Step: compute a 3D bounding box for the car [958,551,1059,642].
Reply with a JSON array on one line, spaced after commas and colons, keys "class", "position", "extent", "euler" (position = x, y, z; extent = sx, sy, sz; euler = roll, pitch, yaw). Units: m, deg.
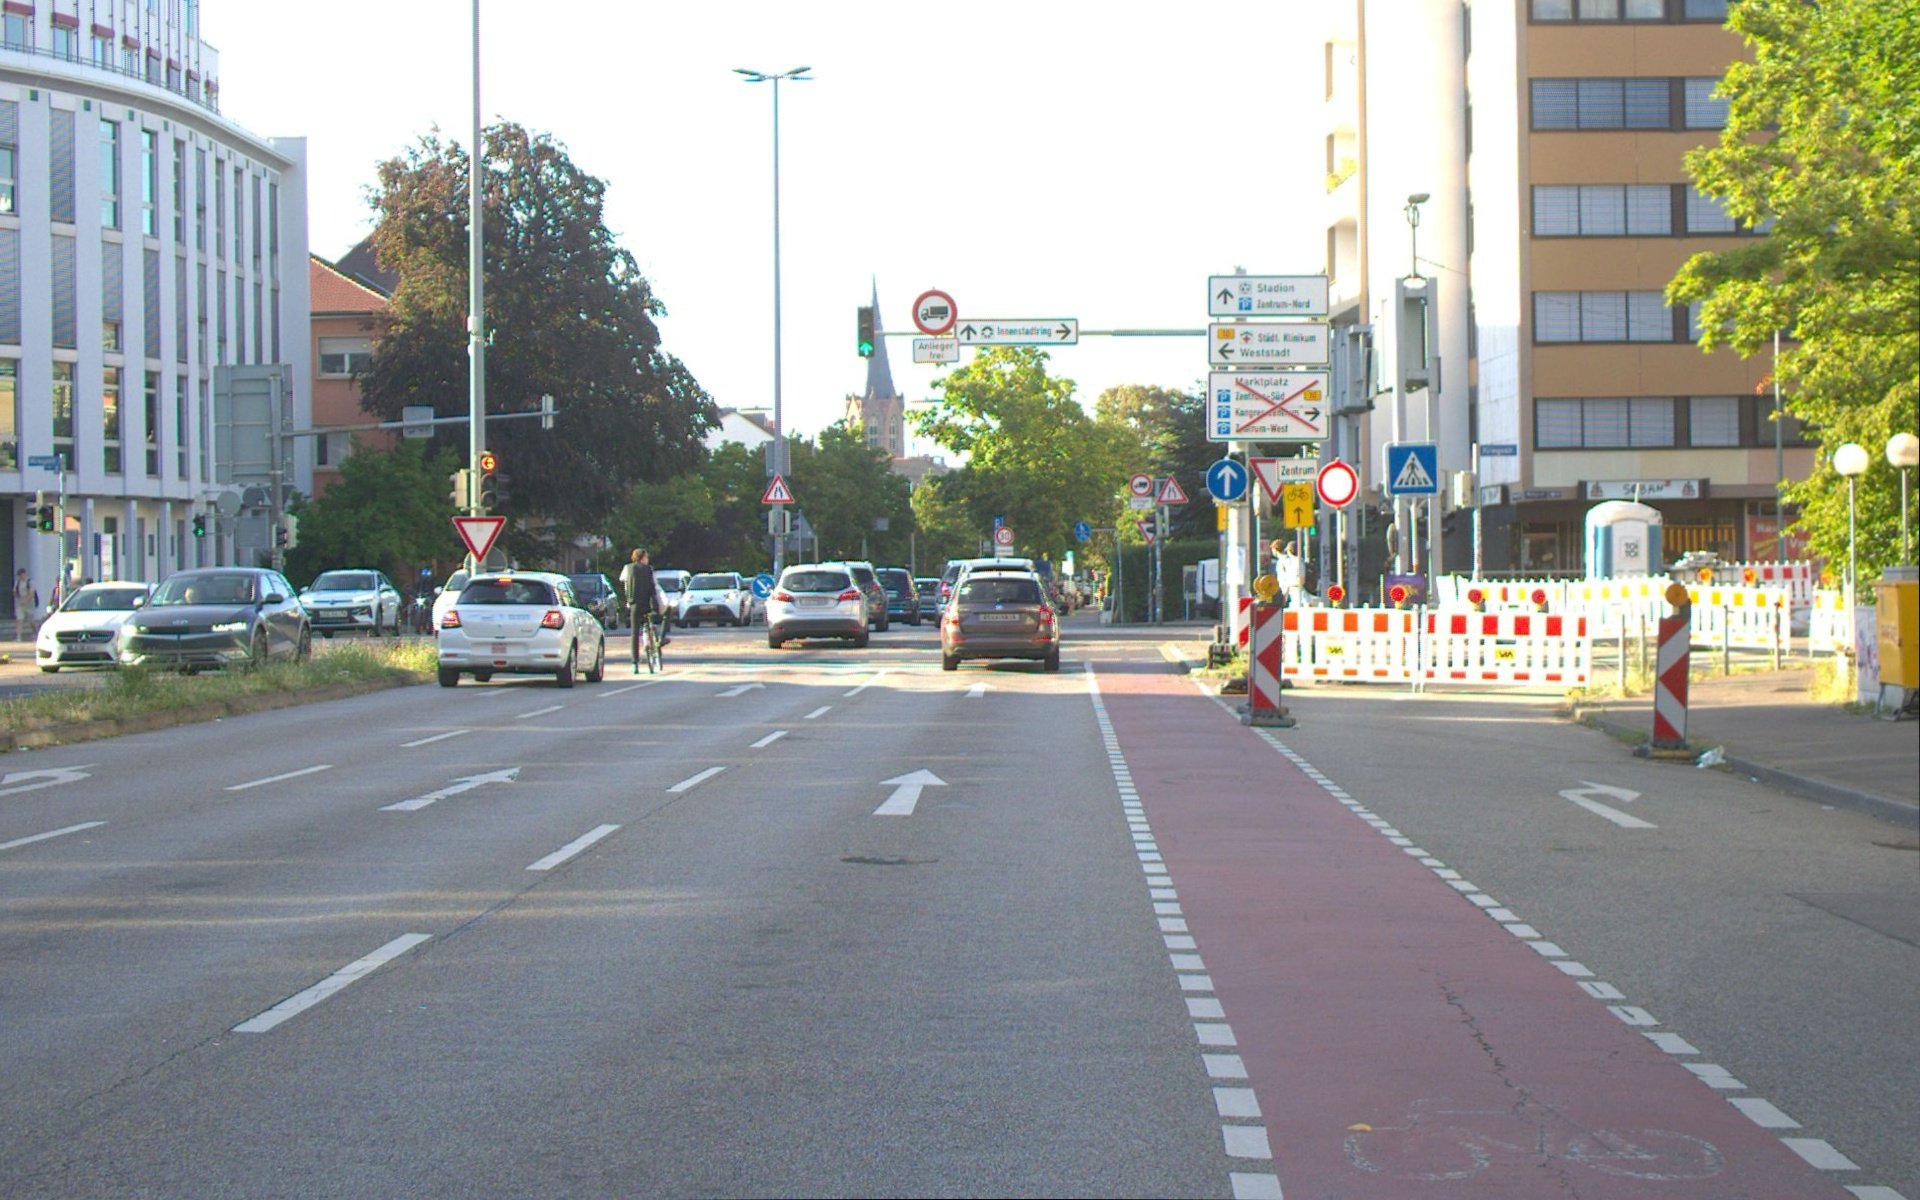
[{"class": "car", "position": [0.892, -0.079, 64.198], "extent": [1.819, 1.634, 4.000], "euler": [-1, 1, 0]}]

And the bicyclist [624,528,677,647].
[{"class": "bicyclist", "position": [-4.521, -0.184, 50.279], "extent": [0.691, 1.722, 0.988], "euler": [-1, 0, -2]}]

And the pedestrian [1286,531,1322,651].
[{"class": "pedestrian", "position": [5.392, -0.142, 53.946], "extent": [0.520, 1.862, 0.614], "euler": [-1, 0, 4]}]

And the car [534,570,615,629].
[{"class": "car", "position": [-10.066, -0.033, 90.042], "extent": [1.658, 1.489, 4.000], "euler": [-1, 1, 0]}]

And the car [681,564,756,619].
[{"class": "car", "position": [-6.671, -0.253, 95.323], "extent": [1.847, 1.456, 4.050], "euler": [-1, 1, -1]}]

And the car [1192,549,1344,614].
[{"class": "car", "position": [9.197, -0.557, 102.944], "extent": [4.363, 1.871, 2.000], "euler": [-1, 0, 0]}]

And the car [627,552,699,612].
[{"class": "car", "position": [-9.237, -0.579, 107.322], "extent": [1.915, 1.805, 4.718], "euler": [-1, 1, -1]}]

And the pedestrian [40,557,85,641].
[{"class": "pedestrian", "position": [-20.021, -0.026, 76.721], "extent": [0.660, 1.862, 0.778], "euler": [-1, 0, 14]}]

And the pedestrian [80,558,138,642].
[{"class": "pedestrian", "position": [-18.976, -0.005, 76.686], "extent": [0.627, 1.862, 1.125], "euler": [-1, 0, 30]}]

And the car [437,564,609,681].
[{"class": "car", "position": [-5.716, 0.263, 45.375], "extent": [1.685, 1.452, 4.000], "euler": [0, 1, 1]}]

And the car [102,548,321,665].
[{"class": "car", "position": [-10.620, 0.064, 49.123], "extent": [1.993, 1.573, 4.899], "euler": [-1, 0, 1]}]

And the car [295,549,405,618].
[{"class": "car", "position": [-13.699, -0.383, 77.442], "extent": [1.685, 1.493, 4.514], "euler": [-1, 1, 0]}]

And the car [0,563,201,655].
[{"class": "car", "position": [-14.022, 0.117, 56.333], "extent": [1.994, 1.408, 4.443], "euler": [-1, 1, 2]}]

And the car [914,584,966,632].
[{"class": "car", "position": [-0.713, 0.290, 123.168], "extent": [1.664, 1.652, 4.000], "euler": [-1, 0, 2]}]

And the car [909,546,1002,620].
[{"class": "car", "position": [-0.087, -0.368, 77.919], "extent": [1.993, 1.503, 4.000], "euler": [-2, -1, 0]}]

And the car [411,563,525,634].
[{"class": "car", "position": [-10.124, -0.055, 70.987], "extent": [1.685, 1.387, 4.181], "euler": [-1, 1, 1]}]

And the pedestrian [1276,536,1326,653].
[{"class": "pedestrian", "position": [5.282, -0.092, 53.234], "extent": [0.741, 1.793, 0.715], "euler": [-1, 0, 7]}]

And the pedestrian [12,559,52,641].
[{"class": "pedestrian", "position": [-20.900, 0.000, 77.443], "extent": [0.758, 1.836, 0.818], "euler": [-1, 0, -8]}]

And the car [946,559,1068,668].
[{"class": "car", "position": [0.740, 0.169, 51.576], "extent": [1.748, 1.559, 4.049], "euler": [-1, 1, 2]}]

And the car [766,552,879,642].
[{"class": "car", "position": [-2.463, -0.077, 62.320], "extent": [1.748, 1.559, 4.049], "euler": [-1, 1, 2]}]

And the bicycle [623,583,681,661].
[{"class": "bicycle", "position": [-4.513, 0.313, 50.450], "extent": [0.700, 1.096, 2.258], "euler": [-1, 0, -1]}]

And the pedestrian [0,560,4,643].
[{"class": "pedestrian", "position": [-21.891, 0.041, 77.322], "extent": [0.660, 1.852, 0.779], "euler": [-1, 0, -11]}]

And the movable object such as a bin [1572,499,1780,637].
[{"class": "movable object such as a bin", "position": [12.627, -0.565, 60.735], "extent": [3.328, 2.375, 1.529], "euler": [-1, 0, 1]}]

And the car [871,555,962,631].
[{"class": "car", "position": [-0.913, -0.164, 73.692], "extent": [1.748, 1.559, 4.049], "euler": [-1, 1, 2]}]

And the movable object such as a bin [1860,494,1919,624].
[{"class": "movable object such as a bin", "position": [20.571, -0.823, 66.983], "extent": [5.349, 2.482, 2.549], "euler": [-1, 0, -1]}]

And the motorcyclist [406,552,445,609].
[{"class": "motorcyclist", "position": [-13.375, -0.485, 86.041], "extent": [0.770, 1.414, 1.238], "euler": [-1, 0, -1]}]

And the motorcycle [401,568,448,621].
[{"class": "motorcycle", "position": [-13.367, -0.151, 85.866], "extent": [0.770, 1.280, 2.843], "euler": [-1, 0, -1]}]

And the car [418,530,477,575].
[{"class": "car", "position": [-18.056, -1.663, 121.185], "extent": [1.841, 1.566, 4.001], "euler": [-1, 0, -5]}]

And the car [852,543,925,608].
[{"class": "car", "position": [-1.849, -0.638, 89.811], "extent": [1.664, 1.652, 4.000], "euler": [-1, 0, 2]}]

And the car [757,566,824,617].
[{"class": "car", "position": [-4.960, -0.261, 101.056], "extent": [1.847, 1.456, 4.050], "euler": [-1, 1, -1]}]
